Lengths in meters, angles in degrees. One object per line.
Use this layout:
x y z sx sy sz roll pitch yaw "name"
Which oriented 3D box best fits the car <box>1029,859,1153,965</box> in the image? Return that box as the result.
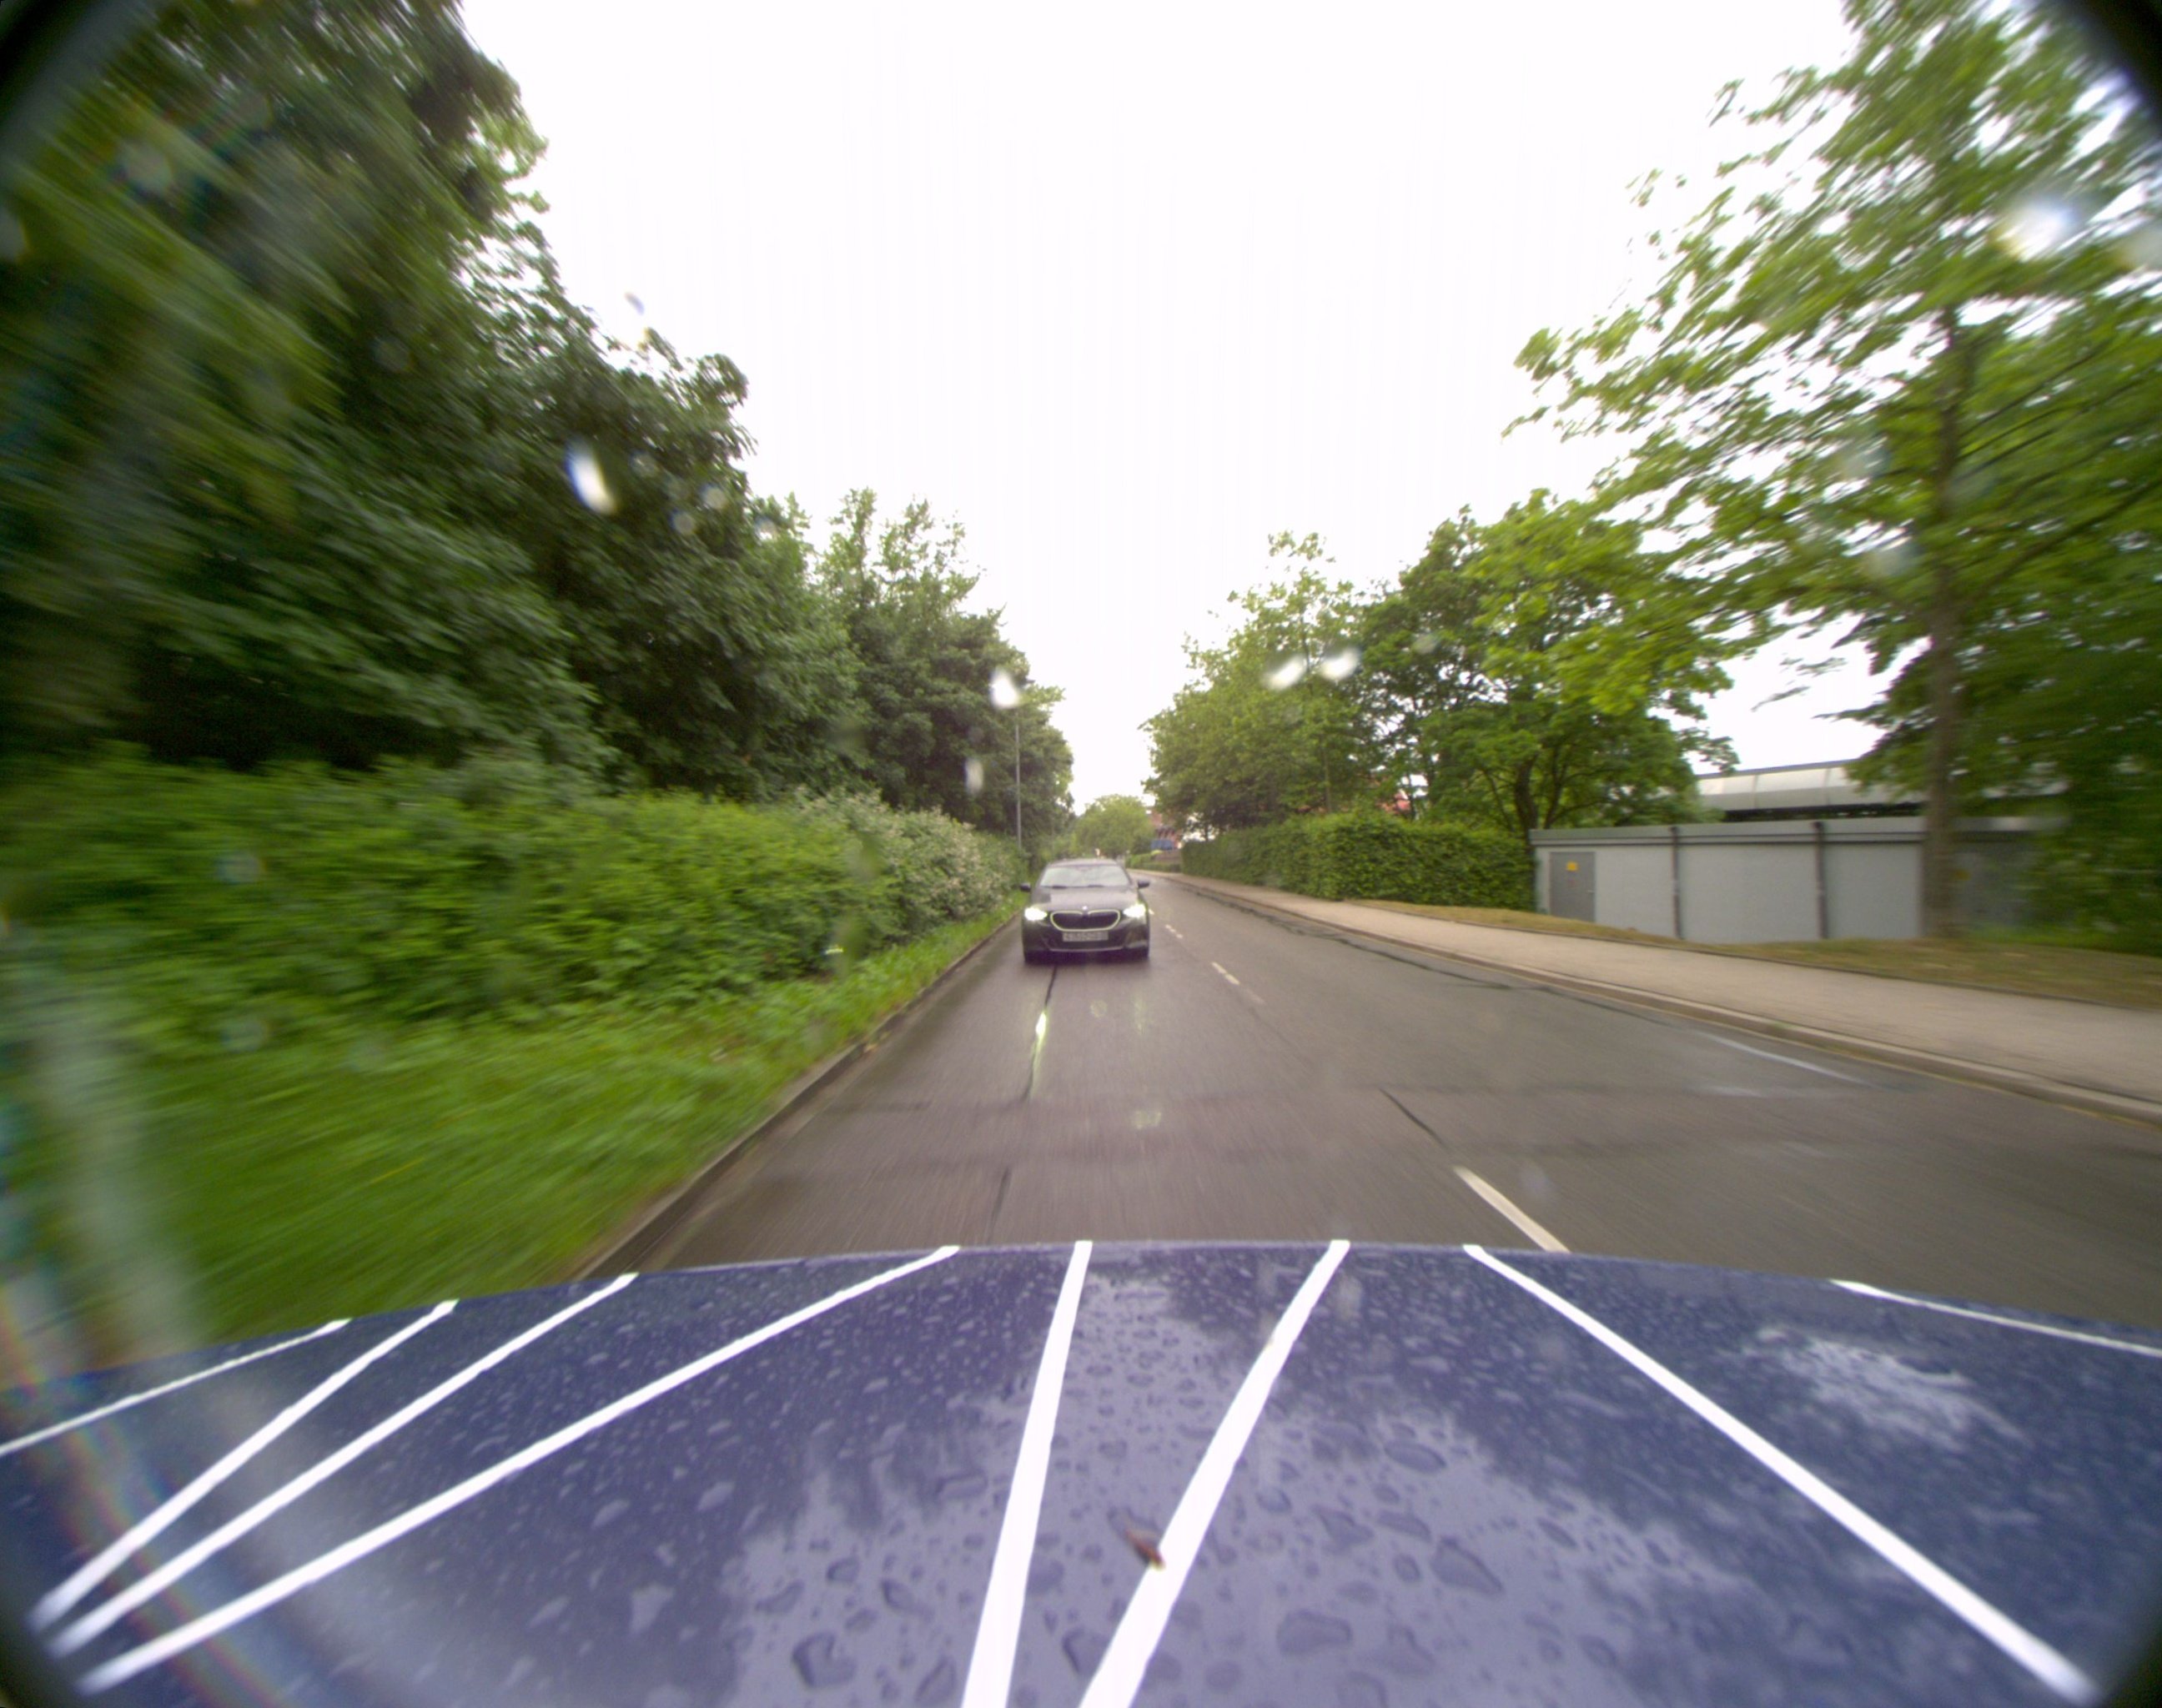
0.126 0.888 13.677 1.832 1.499 4.497 -2 0 -1 "car"
